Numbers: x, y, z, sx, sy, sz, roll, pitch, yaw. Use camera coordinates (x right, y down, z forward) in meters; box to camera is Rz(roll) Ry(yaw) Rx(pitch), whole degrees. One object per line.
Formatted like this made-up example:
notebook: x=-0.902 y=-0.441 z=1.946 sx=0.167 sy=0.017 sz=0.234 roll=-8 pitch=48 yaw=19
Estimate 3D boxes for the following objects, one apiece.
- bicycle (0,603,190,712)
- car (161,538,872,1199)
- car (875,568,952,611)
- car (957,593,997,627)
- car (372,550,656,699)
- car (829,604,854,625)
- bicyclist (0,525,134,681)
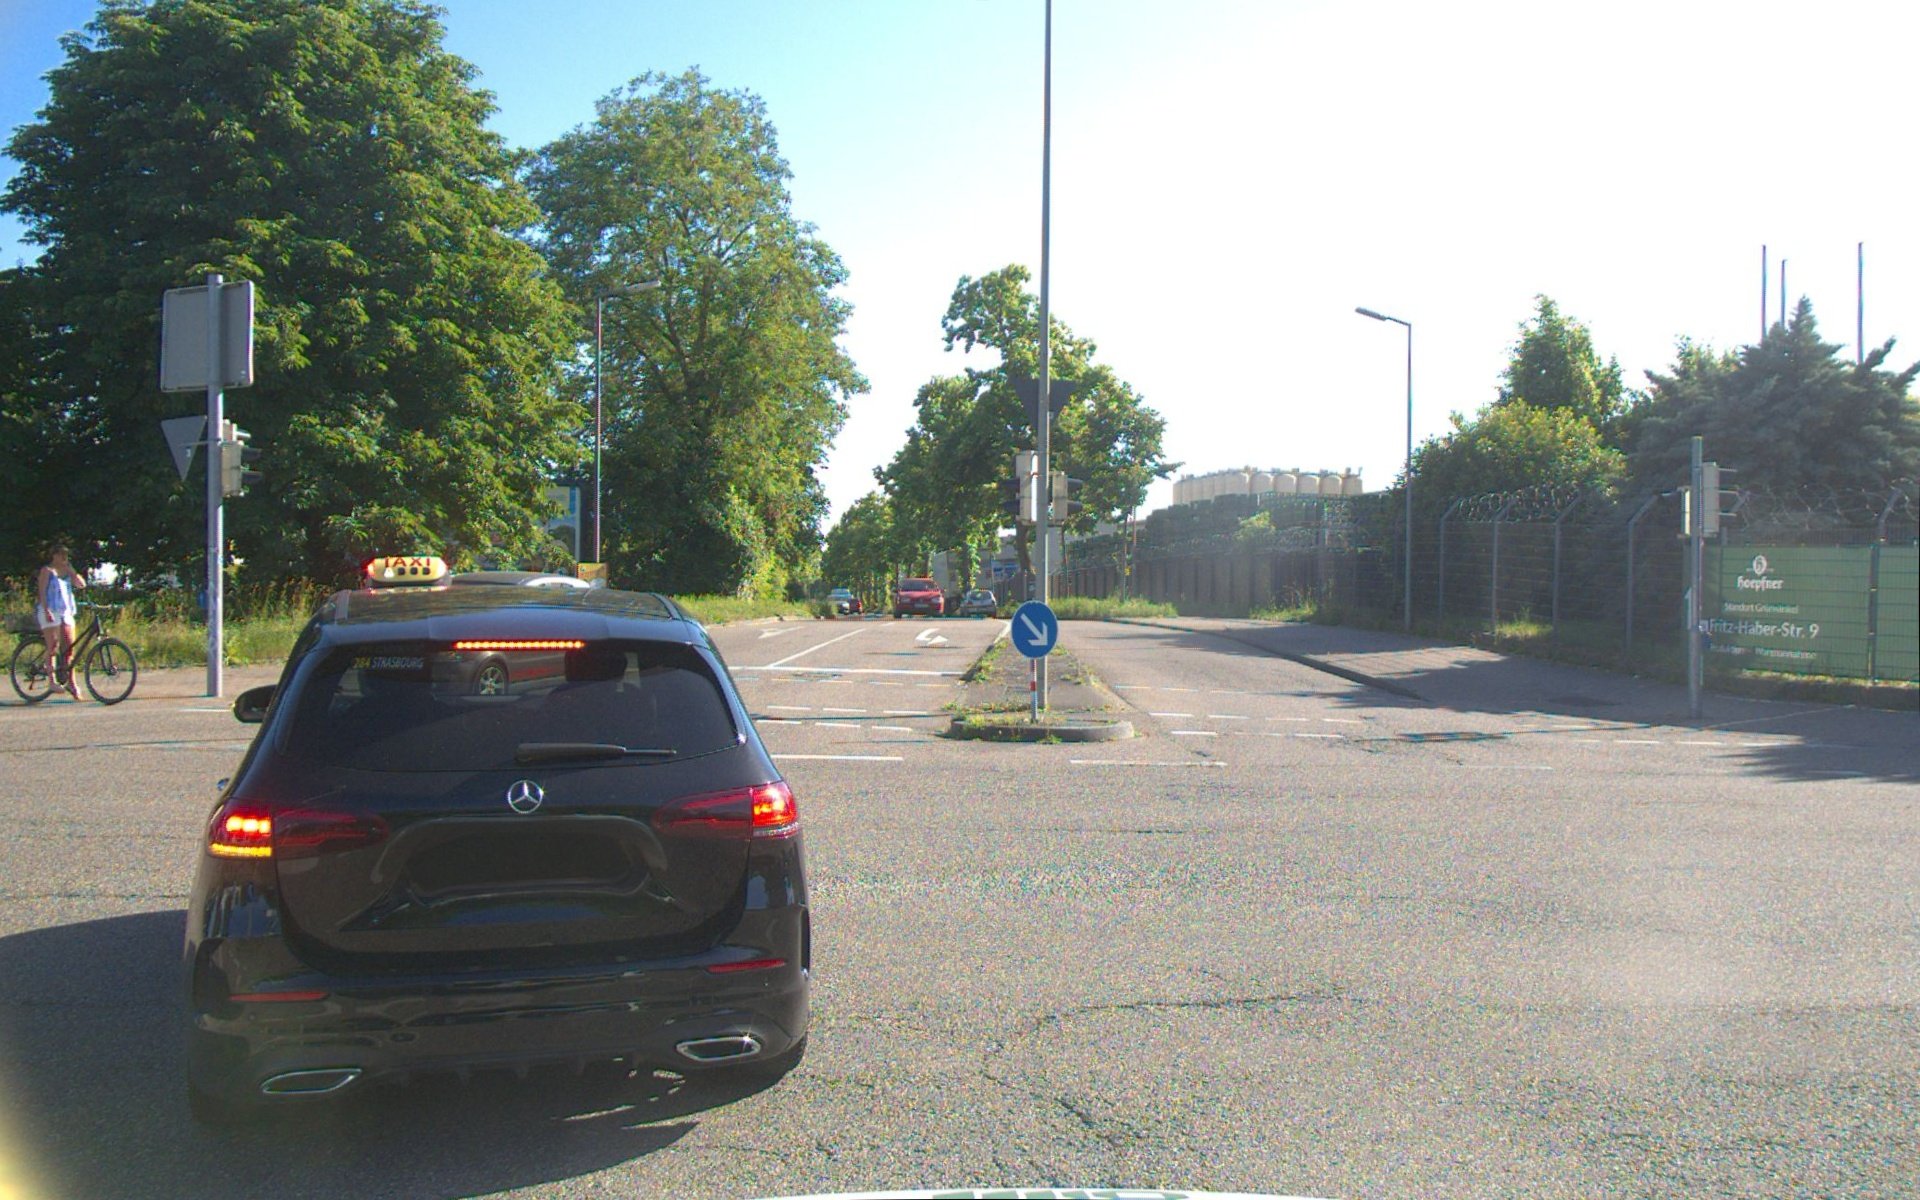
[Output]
bicycle: x=-10.251 y=0.626 z=18.800 sx=2.882 sy=1.145 sz=0.903 roll=1 pitch=0 yaw=19
car: x=-1.601 y=0.652 z=6.129 sx=1.741 sy=1.620 sz=3.972 roll=0 pitch=0 yaw=-15
car: x=-1.733 y=-0.353 z=59.671 sx=1.827 sy=1.495 sz=4.120 roll=0 pitch=0 yaw=-16
car: x=0.844 y=0.501 z=84.186 sx=1.657 sy=1.660 sz=3.125 roll=0 pitch=0 yaw=-8
car: x=-5.425 y=0.269 z=20.671 sx=1.766 sy=1.668 sz=4.003 roll=0 pitch=0 yaw=13
car: x=-8.588 y=1.010 z=119.738 sx=1.821 sy=1.495 sz=4.134 roll=0 pitch=0 yaw=-5
bicyclist: x=-10.219 y=0.027 z=18.802 sx=1.161 sy=1.722 sz=0.892 roll=1 pitch=-1 yaw=19
